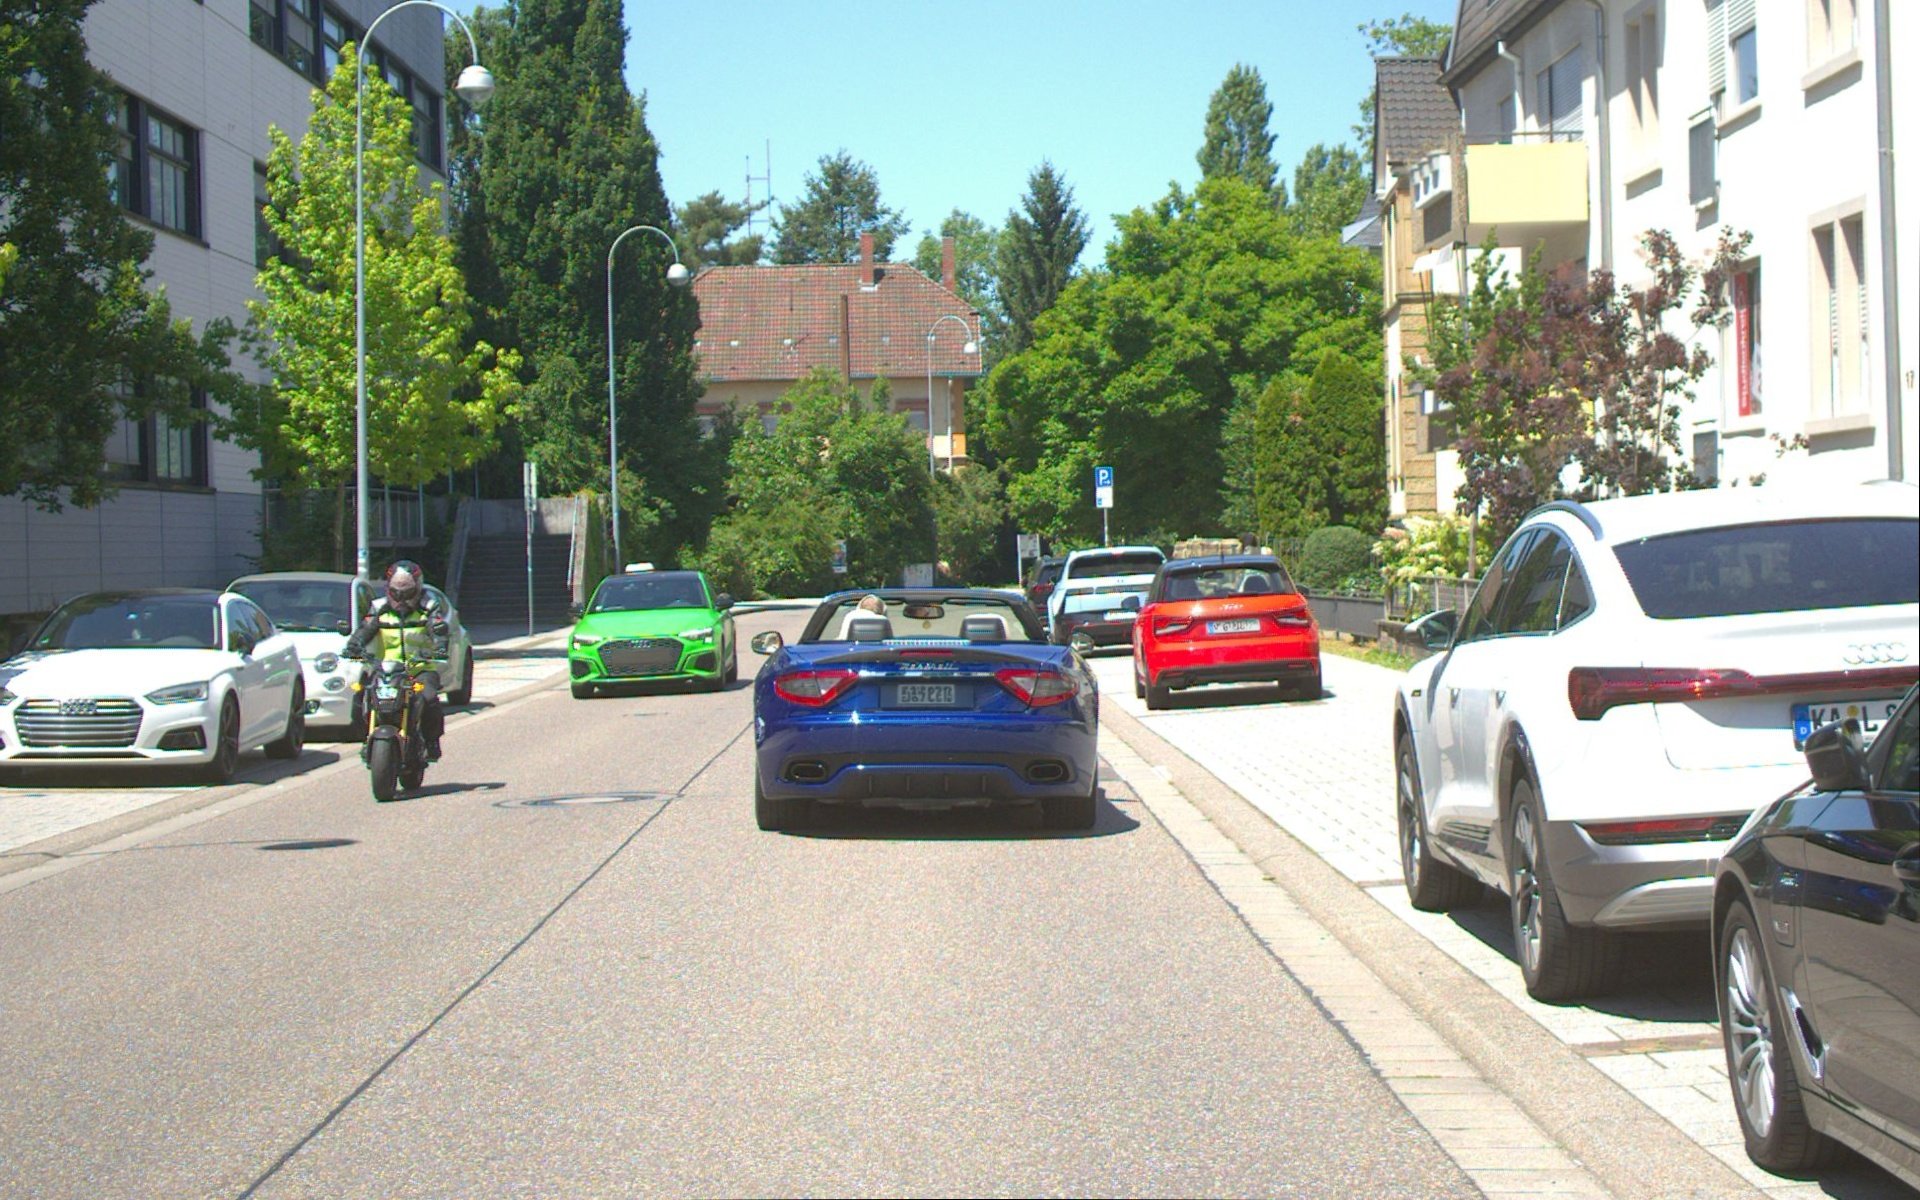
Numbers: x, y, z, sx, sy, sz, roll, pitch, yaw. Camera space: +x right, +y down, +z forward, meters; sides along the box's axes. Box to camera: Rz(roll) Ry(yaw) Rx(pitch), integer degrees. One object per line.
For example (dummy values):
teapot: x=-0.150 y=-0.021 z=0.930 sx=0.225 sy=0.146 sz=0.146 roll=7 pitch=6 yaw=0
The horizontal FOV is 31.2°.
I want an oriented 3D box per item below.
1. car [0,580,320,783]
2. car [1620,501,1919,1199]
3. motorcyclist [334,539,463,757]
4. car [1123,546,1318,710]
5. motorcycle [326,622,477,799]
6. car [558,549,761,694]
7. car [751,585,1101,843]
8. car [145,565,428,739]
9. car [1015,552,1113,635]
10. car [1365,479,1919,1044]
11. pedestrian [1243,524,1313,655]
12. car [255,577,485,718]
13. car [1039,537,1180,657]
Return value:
car: x=-6.268 y=0.563 z=26.523 sx=1.822 sy=1.406 sz=4.577 roll=-1 pitch=1 yaw=0
car: x=2.604 y=0.543 z=6.420 sx=1.705 sy=1.551 sz=4.748 roll=-5 pitch=1 yaw=0
motorcyclist: x=-3.805 y=0.318 z=23.338 sx=0.699 sy=1.428 sz=0.707 roll=-2 pitch=0 yaw=0
car: x=2.530 y=0.237 z=34.096 sx=1.603 sy=1.436 sz=3.853 roll=-4 pitch=1 yaw=1
motorcycle: x=-3.795 y=0.732 z=23.470 sx=0.699 sy=1.103 sz=1.790 roll=-2 pitch=0 yaw=0
car: x=-3.555 y=0.227 z=41.322 sx=1.822 sy=1.583 sz=4.100 roll=-2 pitch=0 yaw=3
car: x=-0.195 y=0.586 z=20.320 sx=1.826 sy=1.332 sz=4.700 roll=0 pitch=0 yaw=0
car: x=-6.232 y=0.435 z=32.253 sx=1.822 sy=1.507 sz=4.289 roll=0 pitch=1 yaw=0
car: x=1.948 y=-0.145 z=65.481 sx=1.631 sy=1.441 sz=4.398 roll=-3 pitch=1 yaw=0
car: x=2.620 y=0.446 z=12.529 sx=1.705 sy=1.660 sz=4.580 roll=-1 pitch=1 yaw=0
pedestrian: x=4.157 y=-0.138 z=44.944 sx=0.740 sy=1.664 sz=0.706 roll=-3 pitch=1 yaw=-2
car: x=-6.296 y=0.473 z=37.054 sx=1.748 sy=1.404 sz=3.933 roll=0 pitch=1 yaw=1
car: x=2.169 y=-0.071 z=51.043 sx=1.843 sy=1.614 sz=4.427 roll=-3 pitch=1 yaw=0
